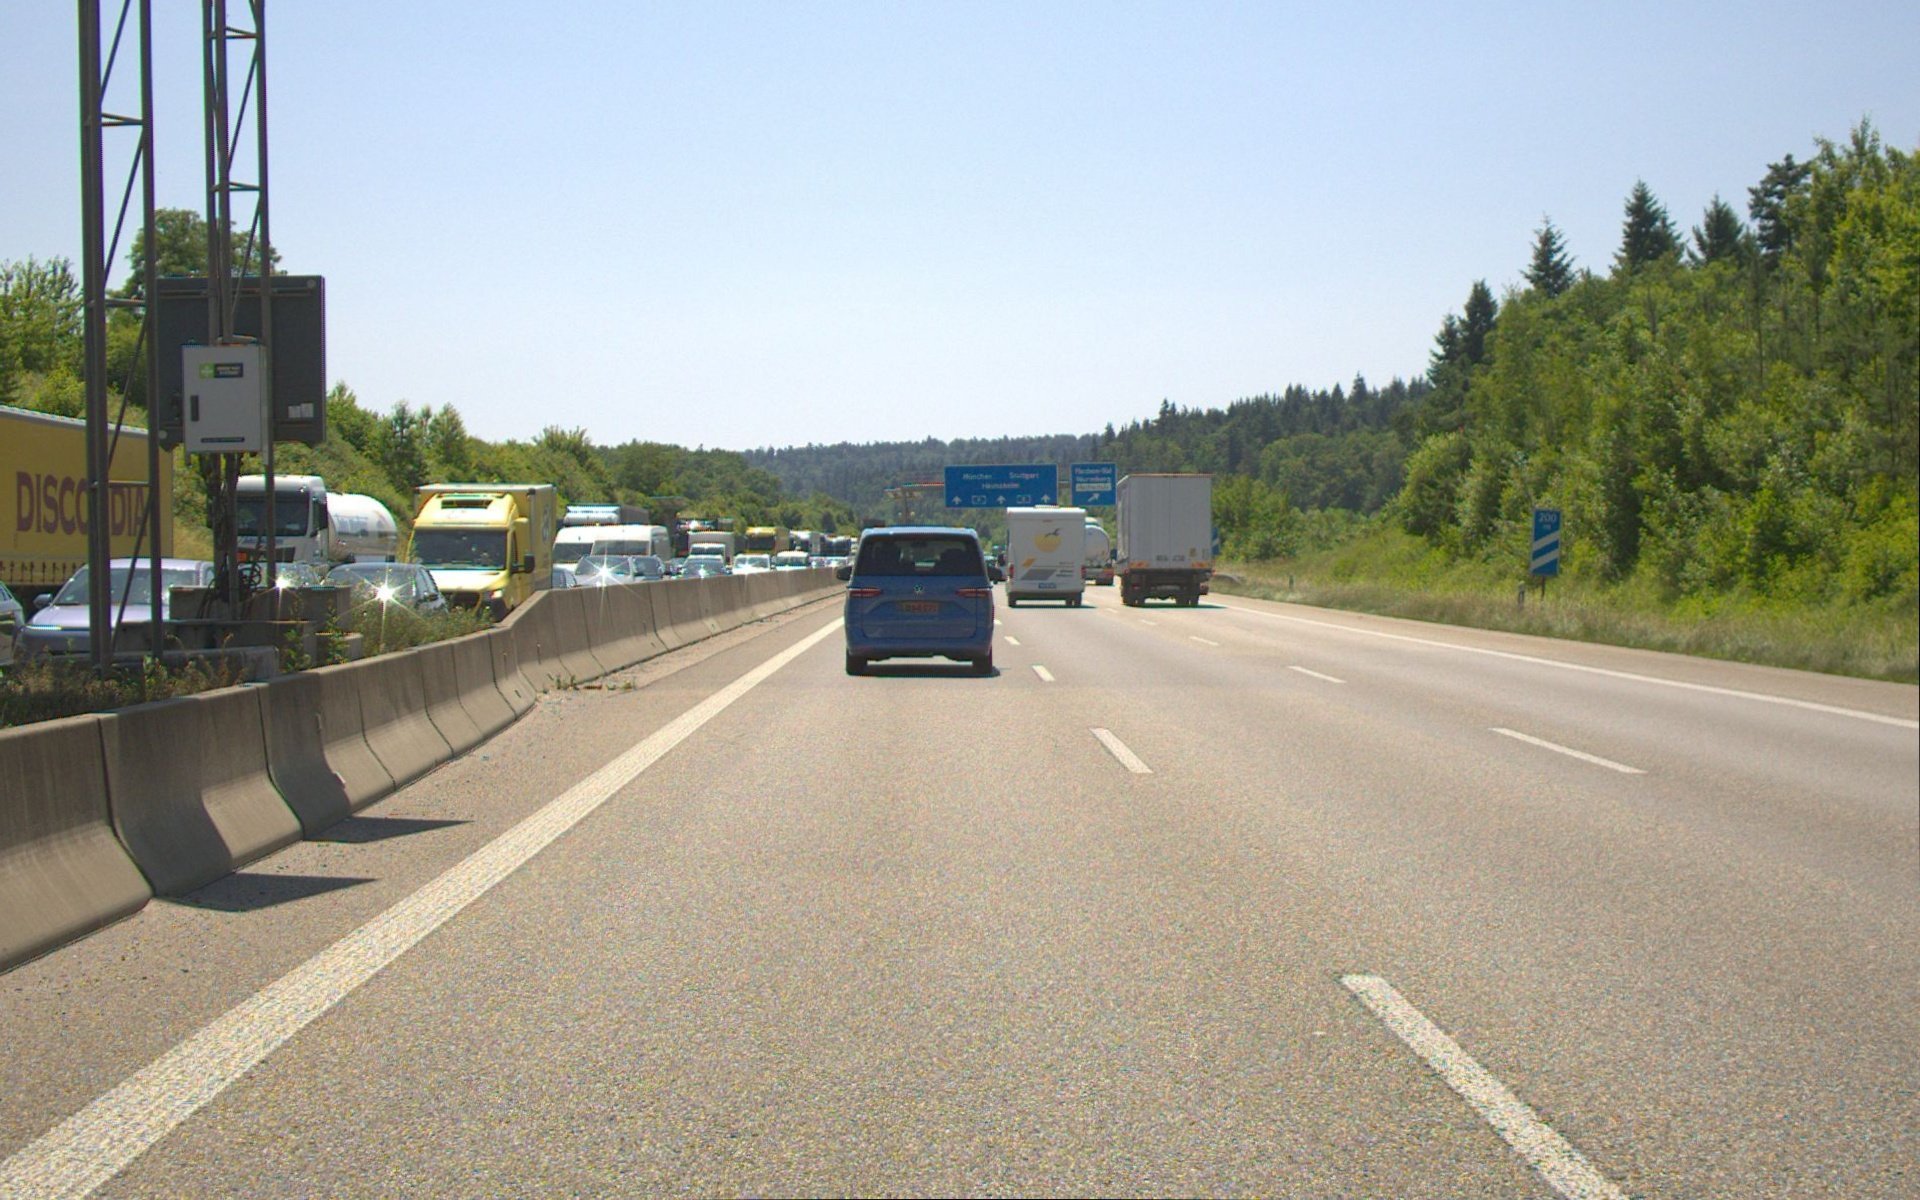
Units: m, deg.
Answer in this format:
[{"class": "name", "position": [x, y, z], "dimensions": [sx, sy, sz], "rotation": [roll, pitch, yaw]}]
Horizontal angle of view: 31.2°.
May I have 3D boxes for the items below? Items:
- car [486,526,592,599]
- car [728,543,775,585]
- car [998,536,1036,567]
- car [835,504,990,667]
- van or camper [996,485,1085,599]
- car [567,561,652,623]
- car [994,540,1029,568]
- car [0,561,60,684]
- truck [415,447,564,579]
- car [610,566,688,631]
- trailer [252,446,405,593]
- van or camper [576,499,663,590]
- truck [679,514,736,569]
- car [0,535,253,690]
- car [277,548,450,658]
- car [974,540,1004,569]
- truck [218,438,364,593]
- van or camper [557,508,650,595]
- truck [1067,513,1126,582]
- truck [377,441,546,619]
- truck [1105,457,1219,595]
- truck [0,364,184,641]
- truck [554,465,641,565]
[{"class": "car", "position": [-8.981, -0.786, 73.647], "dimensions": [1.827, 1.492, 4.760], "rotation": [1, 0, -2]}, {"class": "car", "position": [-9.107, -1.573, 150.507], "dimensions": [1.827, 1.758, 4.991], "rotation": [1, 0, -1]}, {"class": "car", "position": [2.816, -2.406, 169.945], "dimensions": [1.780, 1.481, 4.000], "rotation": [0, 1, 0]}, {"class": "car", "position": [-0.615, -0.225, 44.888], "dimensions": [1.909, 2.007, 4.000], "rotation": [1, 1, -1]}, {"class": "van or camper", "position": [2.448, -1.837, 105.799], "dimensions": [2.603, 3.067, 7.184], "rotation": [1, 4, 1]}, {"class": "car", "position": [-8.836, -0.214, 87.061], "dimensions": [1.827, 1.492, 4.760], "rotation": [1, 0, -2]}, {"class": "car", "position": [2.812, -2.523, 187.939], "dimensions": [1.780, 1.481, 4.000], "rotation": [0, 1, 0]}, {"class": "car", "position": [-12.627, 0.260, 42.633], "dimensions": [1.827, 1.492, 4.760], "rotation": [1, 0, -2]}, {"class": "truck", "position": [-16.985, -3.010, 125.368], "dimensions": [3.696, 4.441, 16.677], "rotation": [1, 0, -2]}, {"class": "car", "position": [-8.814, -0.058, 97.873], "dimensions": [1.827, 1.758, 4.991], "rotation": [1, 0, -1]}, {"class": "trailer", "position": [-16.954, -2.174, 92.984], "dimensions": [2.610, 3.720, 10.683], "rotation": [1, 1, -3]}, {"class": "van or camper", "position": [-10.752, -1.716, 108.996], "dimensions": [2.251, 2.766, 7.218], "rotation": [1, 0, -2]}, {"class": "truck", "position": [-13.301, -3.053, 181.292], "dimensions": [2.568, 2.835, 6.753], "rotation": [1, 0, -1]}, {"class": "car", "position": [-8.696, 0.105, 35.844], "dimensions": [1.827, 1.492, 4.760], "rotation": [1, 0, -2]}, {"class": "car", "position": [-8.564, 0.021, 49.687], "dimensions": [1.827, 1.492, 4.760], "rotation": [1, 0, -2]}, {"class": "car", "position": [1.741, -2.800, 210.141], "dimensions": [1.776, 1.766, 4.000], "rotation": [0, 1, 0]}, {"class": "truck", "position": [-16.733, -2.076, 86.317], "dimensions": [2.678, 3.730, 5.873], "rotation": [1, 0, -2]}, {"class": "van or camper", "position": [-12.404, -1.670, 120.209], "dimensions": [2.197, 2.929, 7.534], "rotation": [1, 0, 2]}, {"class": "truck", "position": [7.241, -2.850, 183.758], "dimensions": [2.928, 3.563, 8.526], "rotation": [-1, 1, 1]}, {"class": "truck", "position": [-8.887, -1.212, 61.882], "dimensions": [2.268, 3.006, 6.777], "rotation": [1, 0, -2]}, {"class": "truck", "position": [6.270, -2.260, 108.143], "dimensions": [2.783, 4.114, 9.740], "rotation": [1, 0, -1]}, {"class": "truck", "position": [-17.307, -1.612, 59.987], "dimensions": [3.696, 4.441, 17.382], "rotation": [1, 0, 0]}, {"class": "truck", "position": [-16.934, -3.910, 160.989], "dimensions": [2.942, 4.500, 8.605], "rotation": [1, 0, 1]}]
